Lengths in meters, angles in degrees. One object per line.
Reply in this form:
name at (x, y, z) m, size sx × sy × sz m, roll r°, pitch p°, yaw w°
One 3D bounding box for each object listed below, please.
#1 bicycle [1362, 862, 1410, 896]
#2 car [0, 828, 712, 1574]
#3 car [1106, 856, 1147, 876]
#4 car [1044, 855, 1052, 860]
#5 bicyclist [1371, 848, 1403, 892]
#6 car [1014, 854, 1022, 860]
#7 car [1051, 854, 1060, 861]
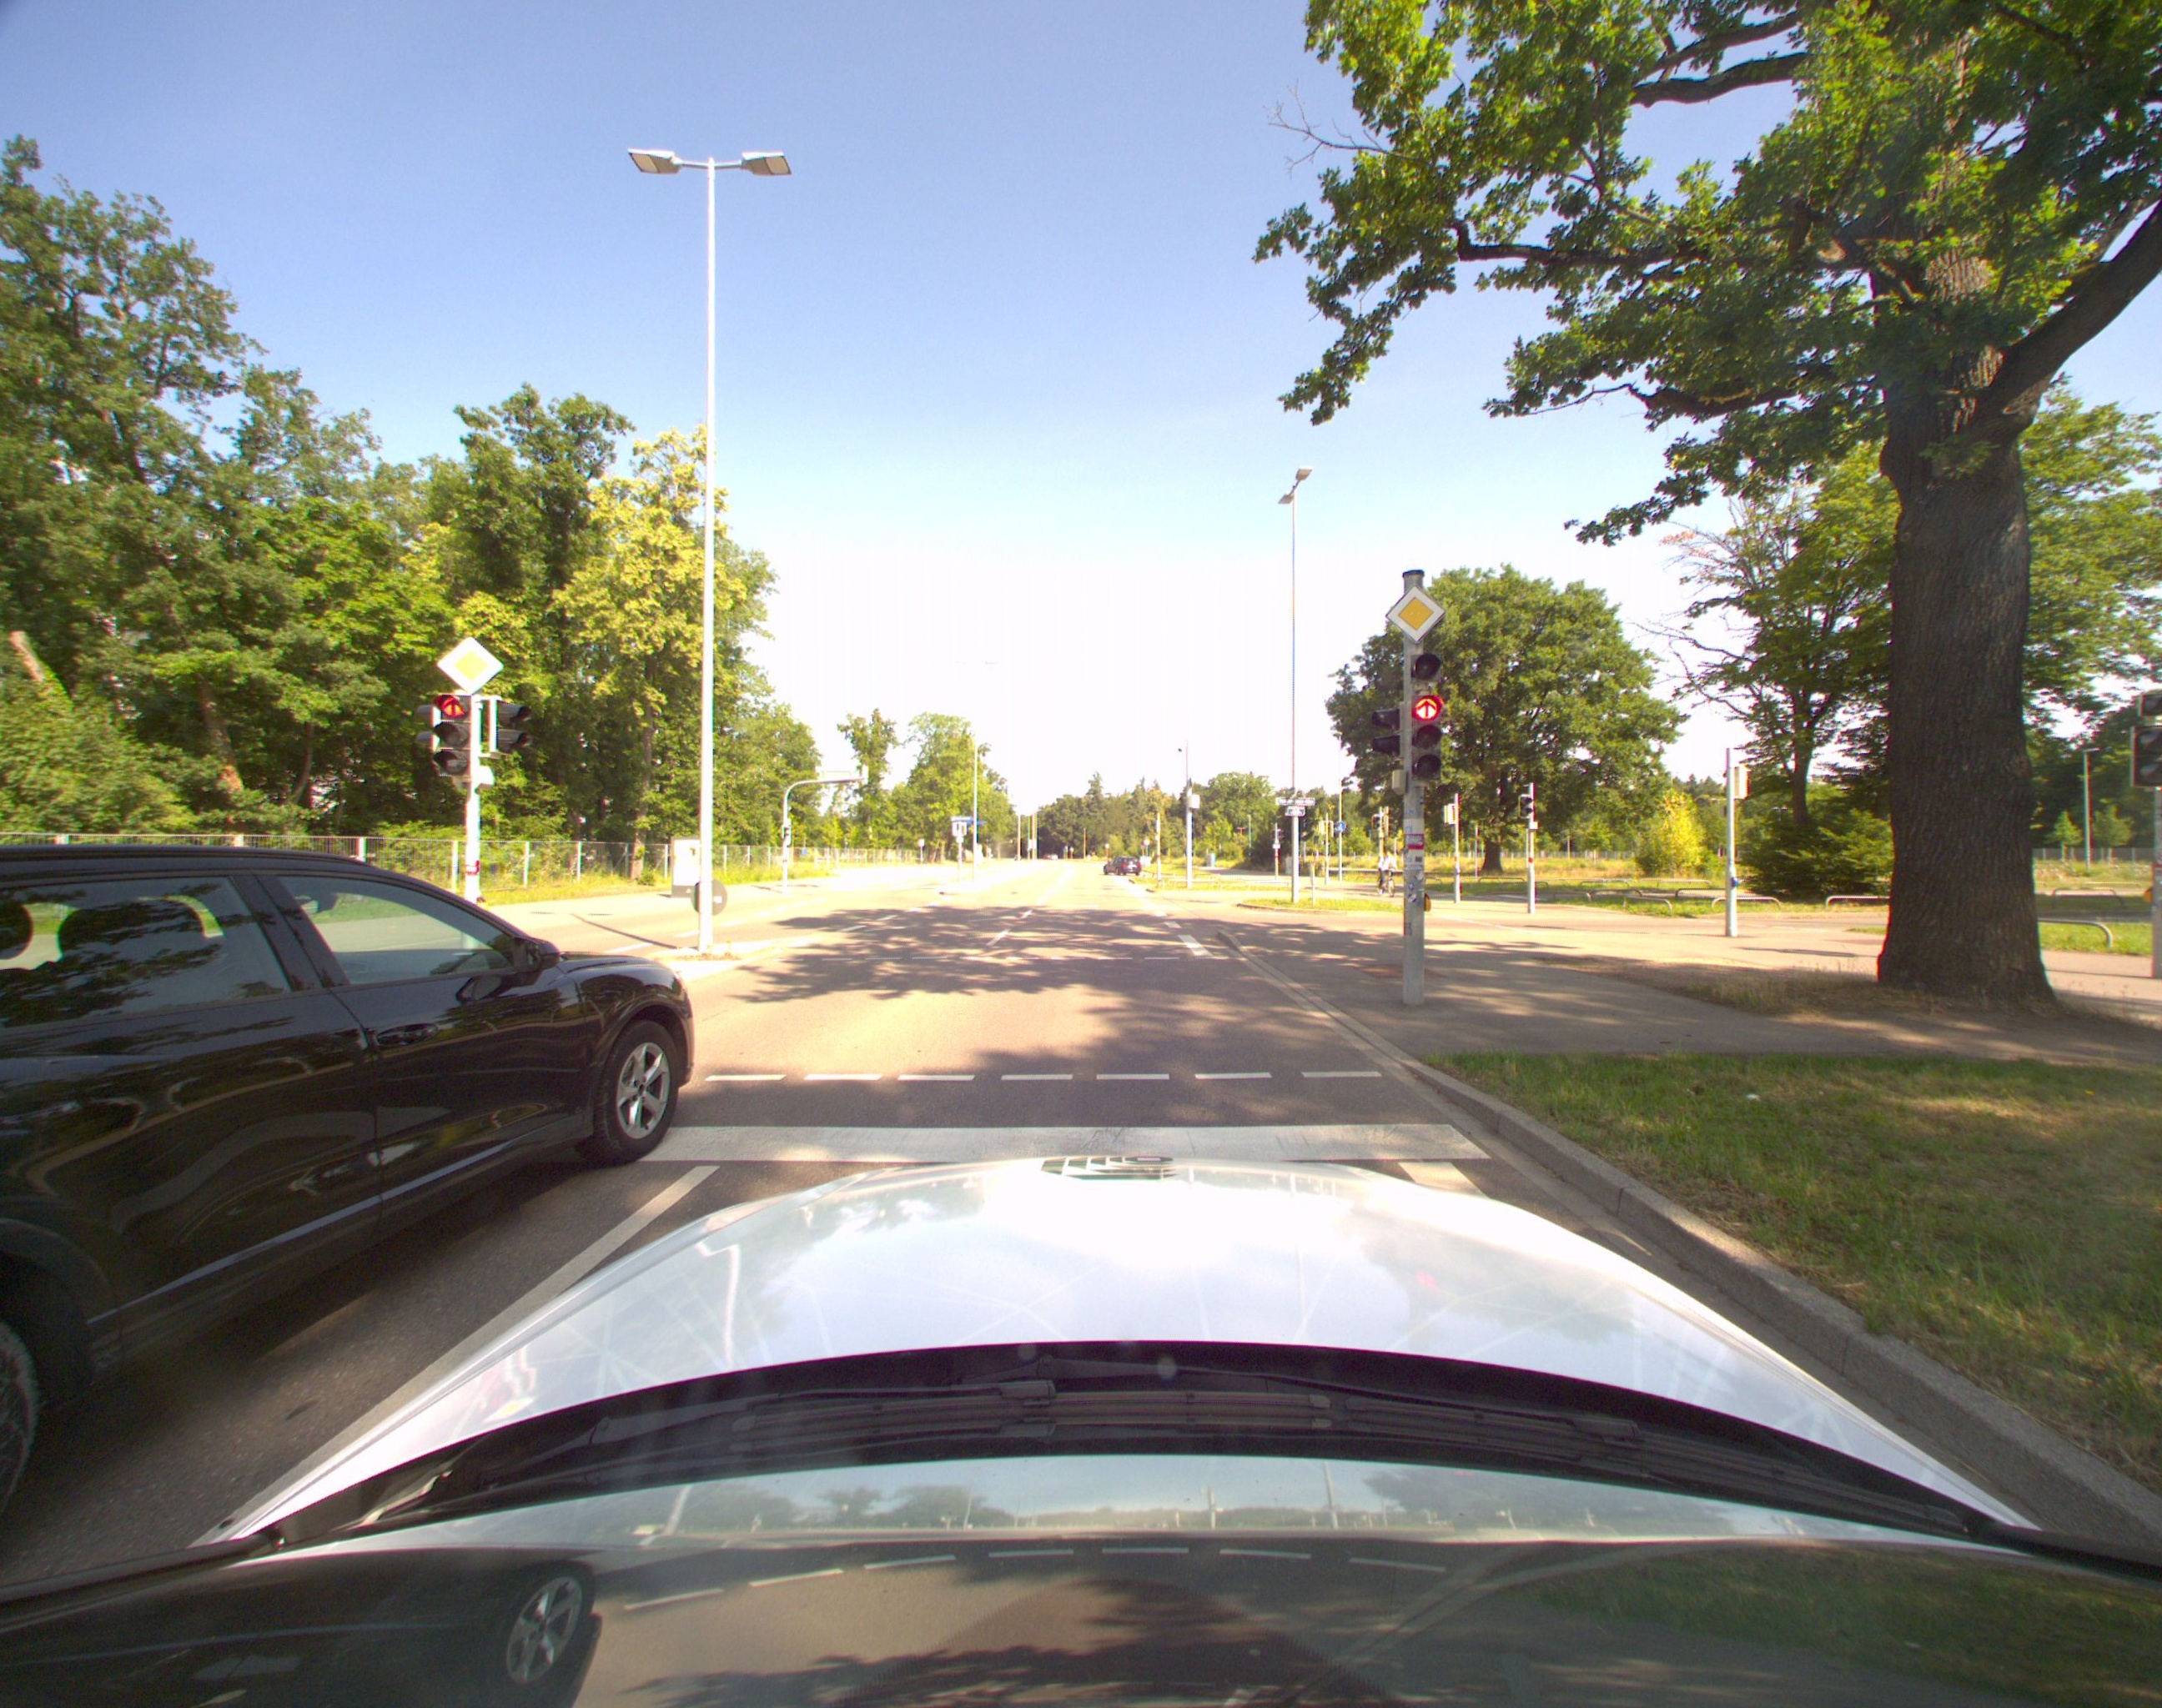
bicycle at (11.623, 0.937, 31.129) m, size 0.724 × 1.199 × 2.093 m, roll 0°, pitch 0°, yaw -11°
car at (-3.061, 0.733, 2.658) m, size 1.681 × 1.544 × 4.150 m, roll -1°, pitch 0°, yaw 2°
car at (3.359, 0.901, 61.522) m, size 1.943 × 1.420 × 4.272 m, roll 0°, pitch 0°, yaw -14°
car at (-9.649, 0.988, 238.808) m, size 1.993 × 1.596 × 3.988 m, roll 0°, pitch 0°, yaw -9°
bicyclist at (11.643, 0.592, 31.016) m, size 0.724 × 1.639 × 1.054 m, roll 0°, pitch 0°, yaw -11°
car at (-18.034, 0.846, 232.600) m, size 1.811 × 1.388 × 4.147 m, roll -2°, pitch 0°, yaw -10°
car at (-7.041, 0.927, 222.038) m, size 1.993 × 1.750 × 3.986 m, roll 0°, pitch -1°, yaw -10°
